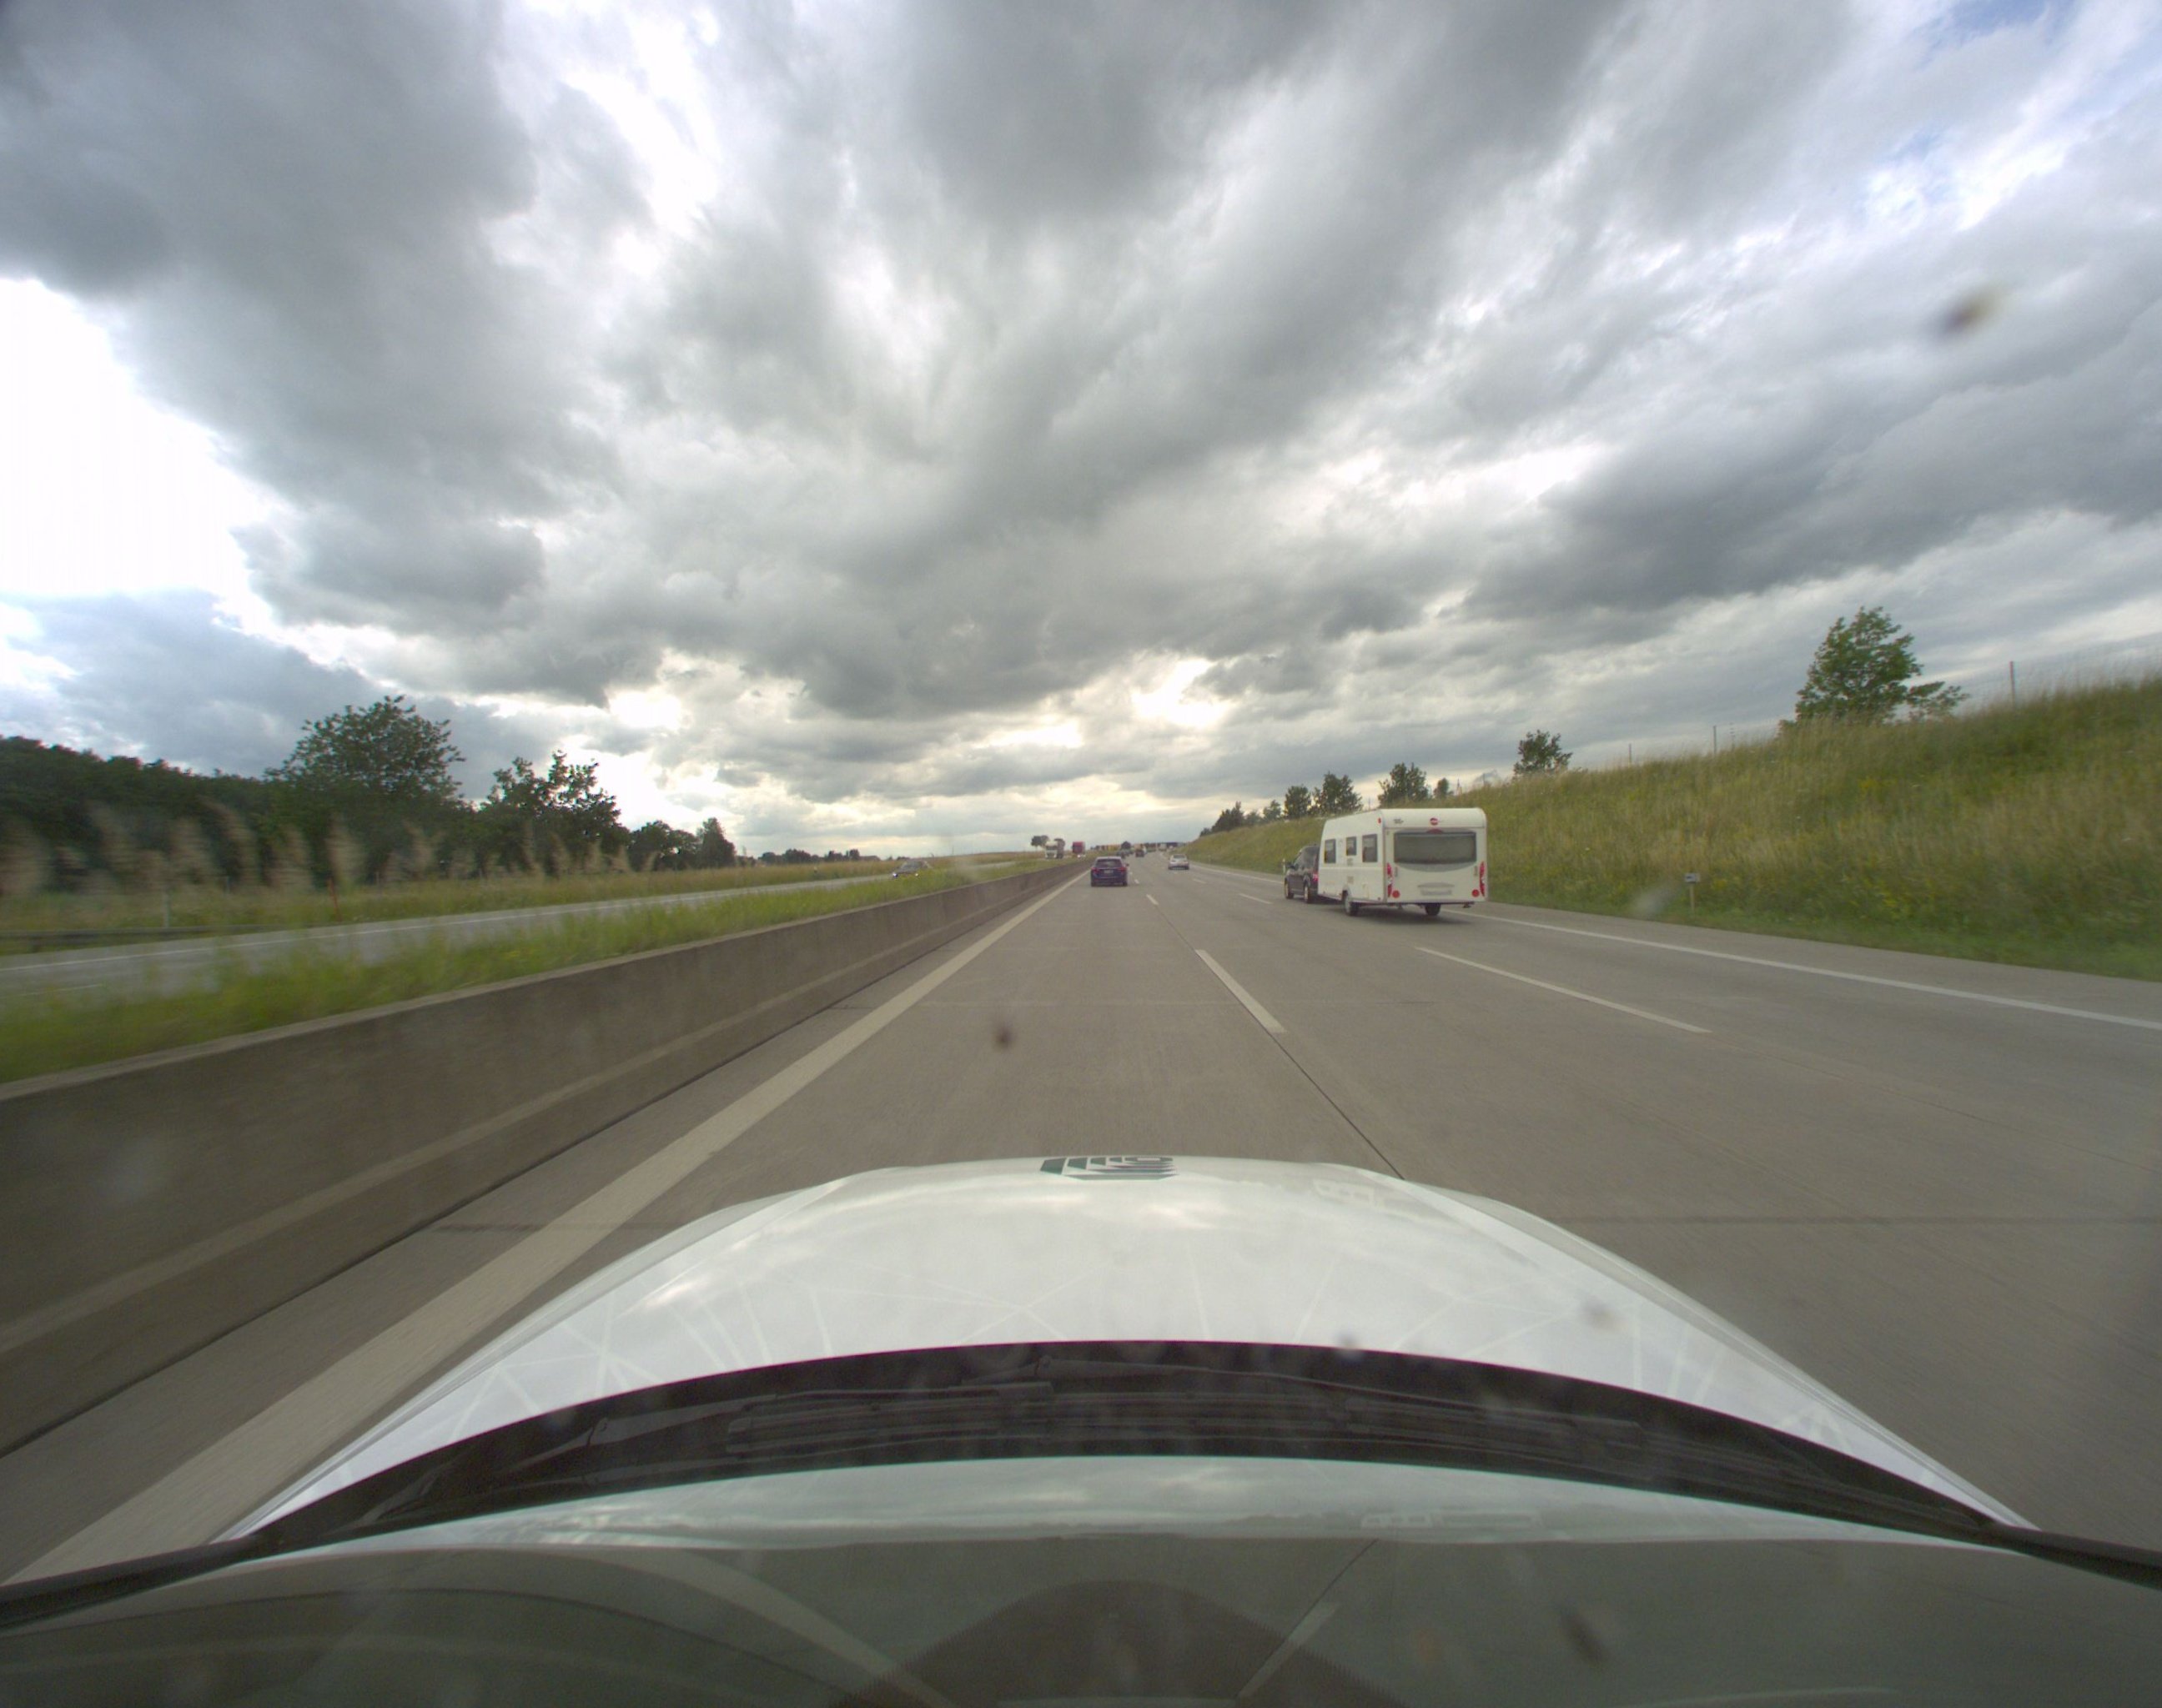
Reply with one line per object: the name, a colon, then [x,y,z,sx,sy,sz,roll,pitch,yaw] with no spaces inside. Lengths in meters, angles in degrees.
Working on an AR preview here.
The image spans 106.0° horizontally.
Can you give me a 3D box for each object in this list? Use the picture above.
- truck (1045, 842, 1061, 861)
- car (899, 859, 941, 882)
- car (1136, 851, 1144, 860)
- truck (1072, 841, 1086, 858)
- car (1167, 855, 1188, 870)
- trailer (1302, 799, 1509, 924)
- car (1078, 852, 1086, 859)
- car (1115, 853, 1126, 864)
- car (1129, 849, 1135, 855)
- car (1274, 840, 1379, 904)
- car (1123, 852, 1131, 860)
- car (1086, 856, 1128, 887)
truck: [-6.328,-0.606,184.582,2.827,4.038,5.516,-1,0,3]
car: [-9.939,0.996,50.550,1.635,1.373,4.101,0,0,3]
car: [13.361,0.290,184.587,1.985,2.014,4.004,0,-1,4]
truck: [-0.373,-1.173,205.654,2.804,4.038,10.579,-1,0,4]
car: [9.020,0.784,76.278,1.781,1.403,4.225,-1,0,4]
trailer: [7.637,0.160,20.258,2.599,2.534,6.723,-1,0,1]
car: [0.210,0.356,170.430,1.560,1.352,3.476,-1,0,4]
car: [7.572,0.881,155.876,2.038,2.014,4.003,0,-1,3]
car: [16.083,-0.632,256.548,1.985,2.014,4.003,0,-1,3]
car: [7.680,0.533,26.008,1.932,1.809,5.033,-1,0,1]
car: [11.595,0.470,205.276,1.985,2.014,4.003,0,-1,3]
car: [1.339,0.828,40.659,1.765,1.413,4.007,-1,0,6]
